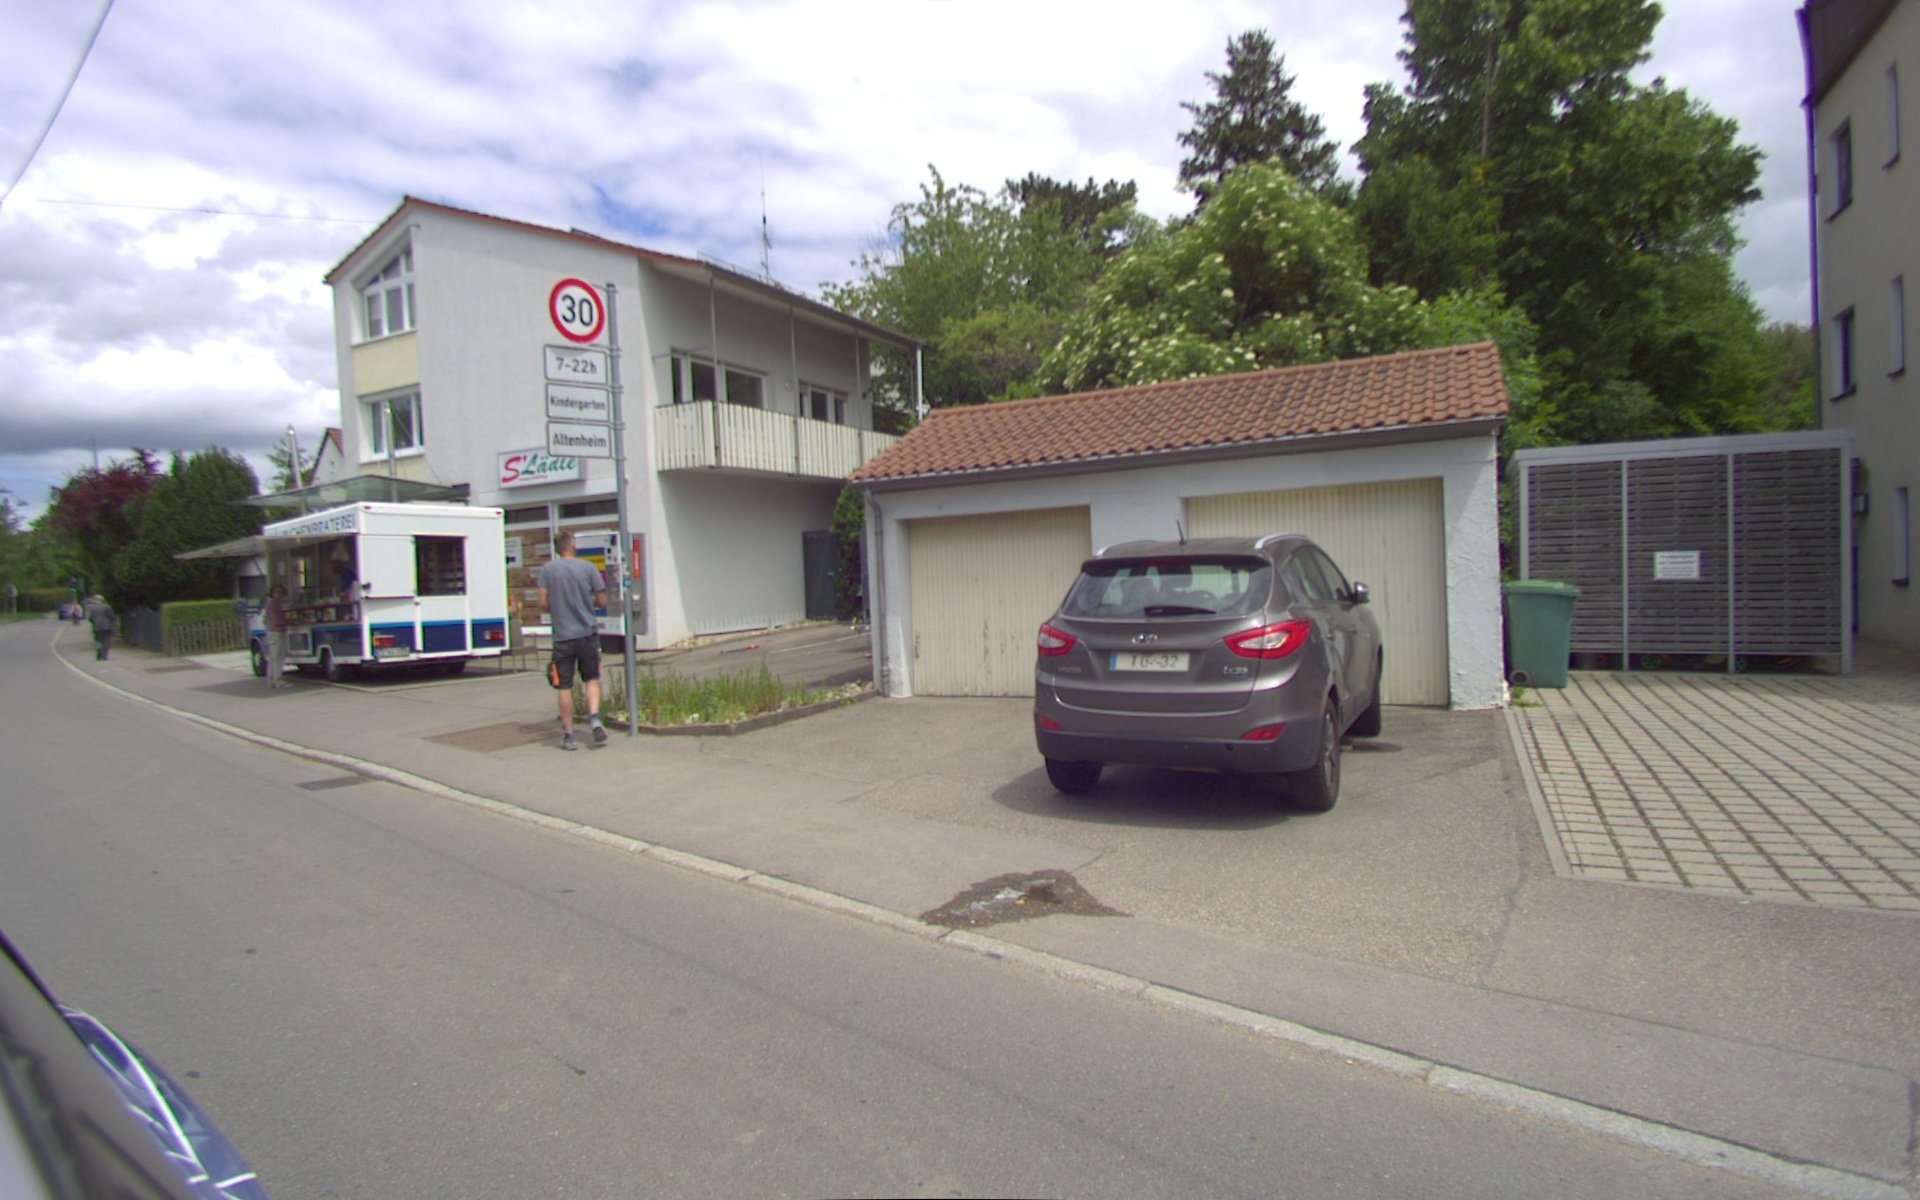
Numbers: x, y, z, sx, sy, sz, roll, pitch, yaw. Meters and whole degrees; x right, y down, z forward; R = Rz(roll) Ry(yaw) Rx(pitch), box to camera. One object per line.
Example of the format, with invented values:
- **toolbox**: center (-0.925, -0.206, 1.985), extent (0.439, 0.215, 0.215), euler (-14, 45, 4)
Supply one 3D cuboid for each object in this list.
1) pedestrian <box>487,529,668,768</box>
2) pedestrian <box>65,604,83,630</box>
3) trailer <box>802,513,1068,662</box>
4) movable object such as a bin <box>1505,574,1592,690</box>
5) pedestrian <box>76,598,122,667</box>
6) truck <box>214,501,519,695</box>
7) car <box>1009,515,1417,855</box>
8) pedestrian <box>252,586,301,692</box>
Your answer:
- **pedestrian**: center (-3.422, 0.380, 9.111), extent (0.736, 1.960, 1.200), euler (0, 4, 44)
- **pedestrian**: center (-61.271, 1.175, 69.977), extent (0.809, 1.757, 0.605), euler (-6, 4, -40)
- **trailer**: center (-0.240, -0.308, 17.134), extent (1.702, 2.095, 4.817), euler (-3, 3, 38)
- **movable object such as a bin**: center (5.975, 0.316, 10.309), extent (0.701, 1.091, 0.683), euler (-2, 3, 27)
- **pedestrian**: center (-22.941, 0.841, 26.957), extent (1.110, 1.698, 0.715), euler (3, 6, 45)
- **truck**: center (-10.762, -0.049, 18.055), extent (6.701, 2.861, 2.449), euler (-1, 2, 40)
- **car**: center (2.153, 0.306, 7.450), extent (1.790, 1.708, 4.284), euler (-2, 4, 30)
- **pedestrian**: center (-11.332, 0.634, 16.768), extent (0.597, 1.707, 0.397), euler (-1, 4, 39)
